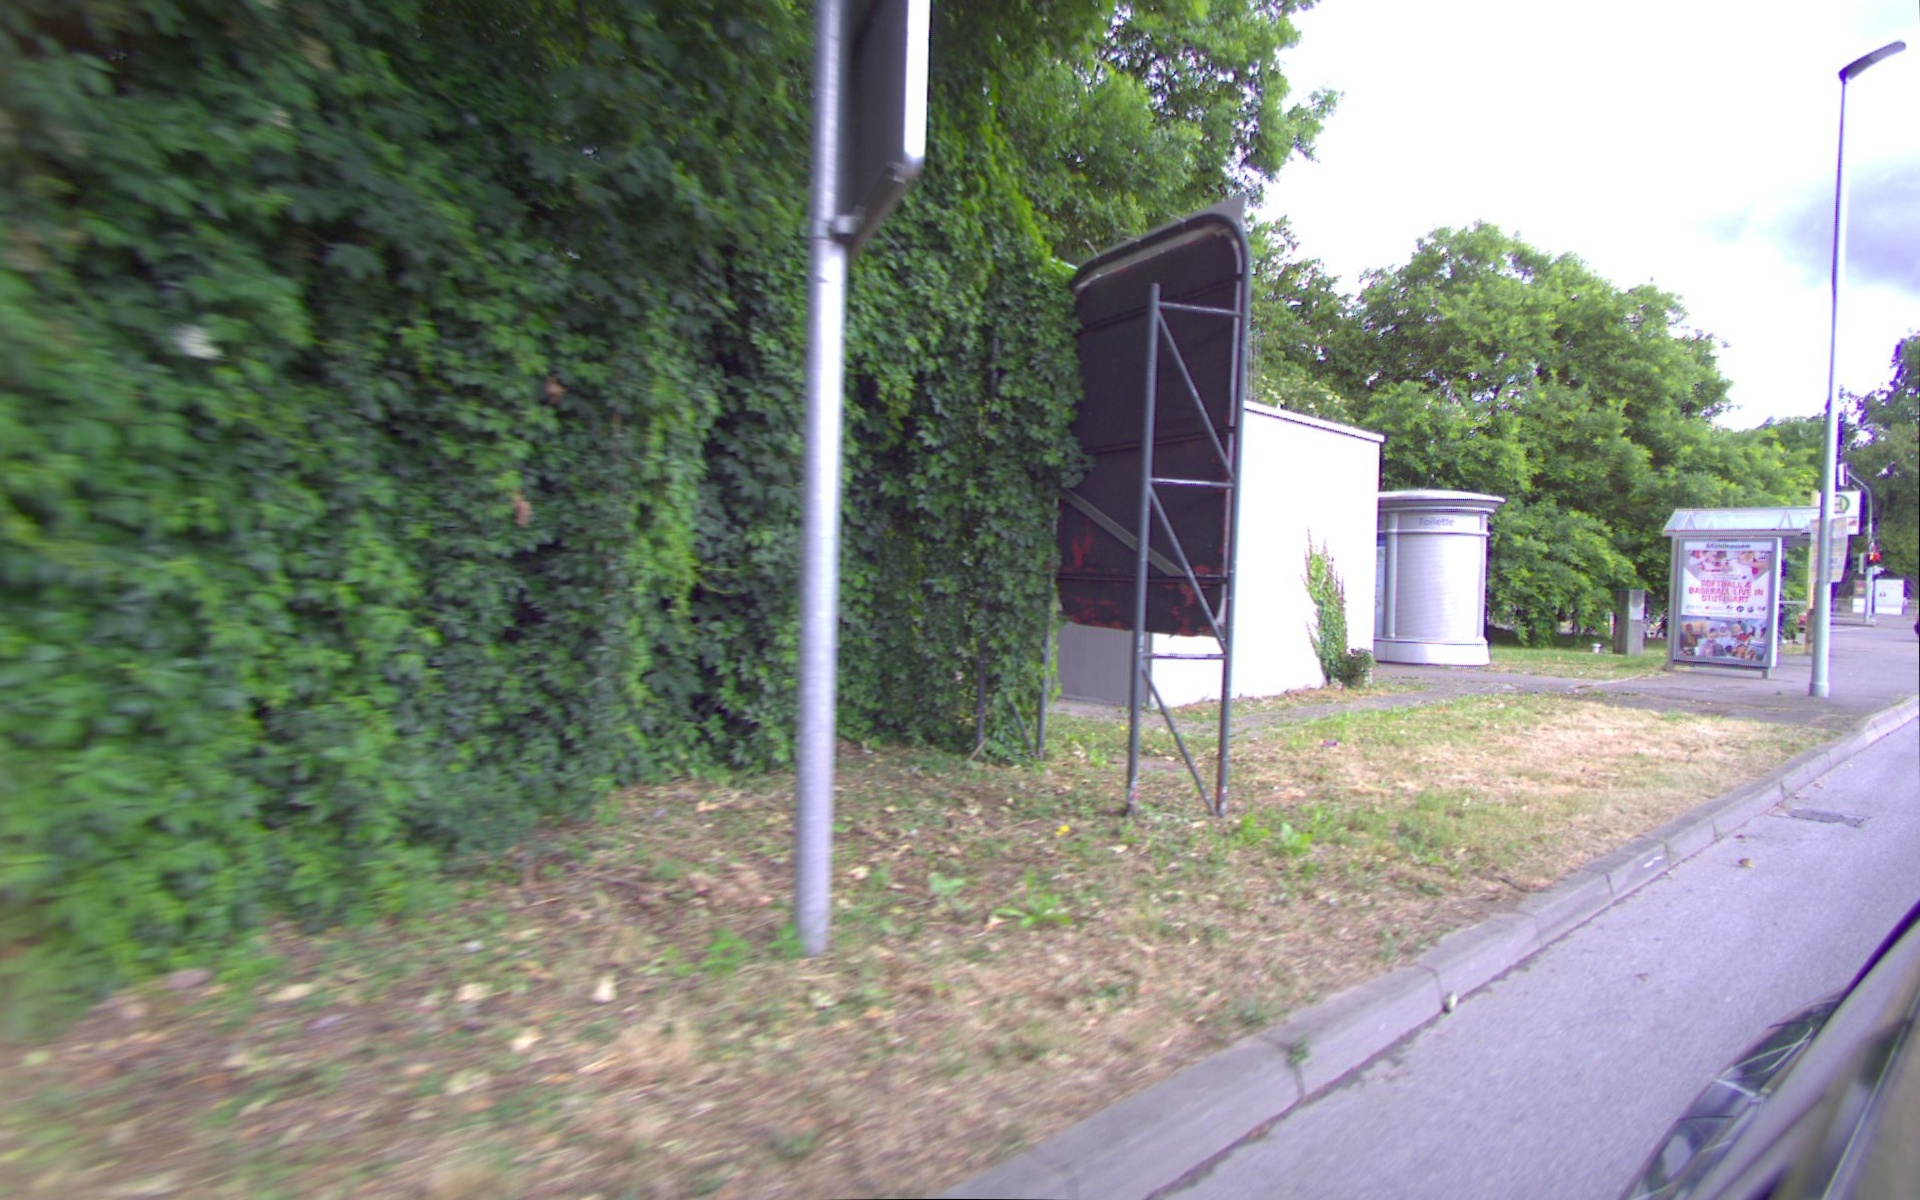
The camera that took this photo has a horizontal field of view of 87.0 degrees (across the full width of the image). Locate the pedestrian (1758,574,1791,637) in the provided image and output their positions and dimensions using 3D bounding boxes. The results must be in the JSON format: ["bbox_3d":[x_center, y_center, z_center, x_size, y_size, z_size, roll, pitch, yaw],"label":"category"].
[{"bbox_3d":[23.352,0.146,29.029,0.688,1.775,0.413,1,1,45],"label":"pedestrian"}]

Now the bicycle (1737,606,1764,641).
[{"bbox_3d":[22.069,0.640,28.236,0.522,0.917,1.825,4,1,39],"label":"bicycle"}]

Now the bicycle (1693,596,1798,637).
[{"bbox_3d":[19.766,0.404,25.525,0.579,0.951,2.048,1,1,-26],"label":"bicycle"}]

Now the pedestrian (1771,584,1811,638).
[{"bbox_3d":[24.326,0.318,29.630,0.659,1.532,0.755,0,3,-41],"label":"pedestrian"}]

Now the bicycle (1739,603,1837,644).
[{"bbox_3d":[21.303,0.579,26.061,0.535,0.936,1.871,0,2,-39],"label":"bicycle"}]

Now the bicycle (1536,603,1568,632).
[{"bbox_3d":[18.529,0.528,31.652,0.476,0.867,1.711,1,1,44],"label":"bicycle"}]

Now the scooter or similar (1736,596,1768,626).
[{"bbox_3d":[30.357,0.402,38.778,1.209,1.125,0.654,0,2,-38],"label":"scooter or similar"}]

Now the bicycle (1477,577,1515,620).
[{"bbox_3d":[17.411,-0.052,32.862,0.644,1.389,1.631,1,0,44],"label":"bicycle"}]

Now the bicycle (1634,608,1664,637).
[{"bbox_3d":[20.347,0.649,29.870,0.476,0.818,1.490,1,1,44],"label":"bicycle"}]
